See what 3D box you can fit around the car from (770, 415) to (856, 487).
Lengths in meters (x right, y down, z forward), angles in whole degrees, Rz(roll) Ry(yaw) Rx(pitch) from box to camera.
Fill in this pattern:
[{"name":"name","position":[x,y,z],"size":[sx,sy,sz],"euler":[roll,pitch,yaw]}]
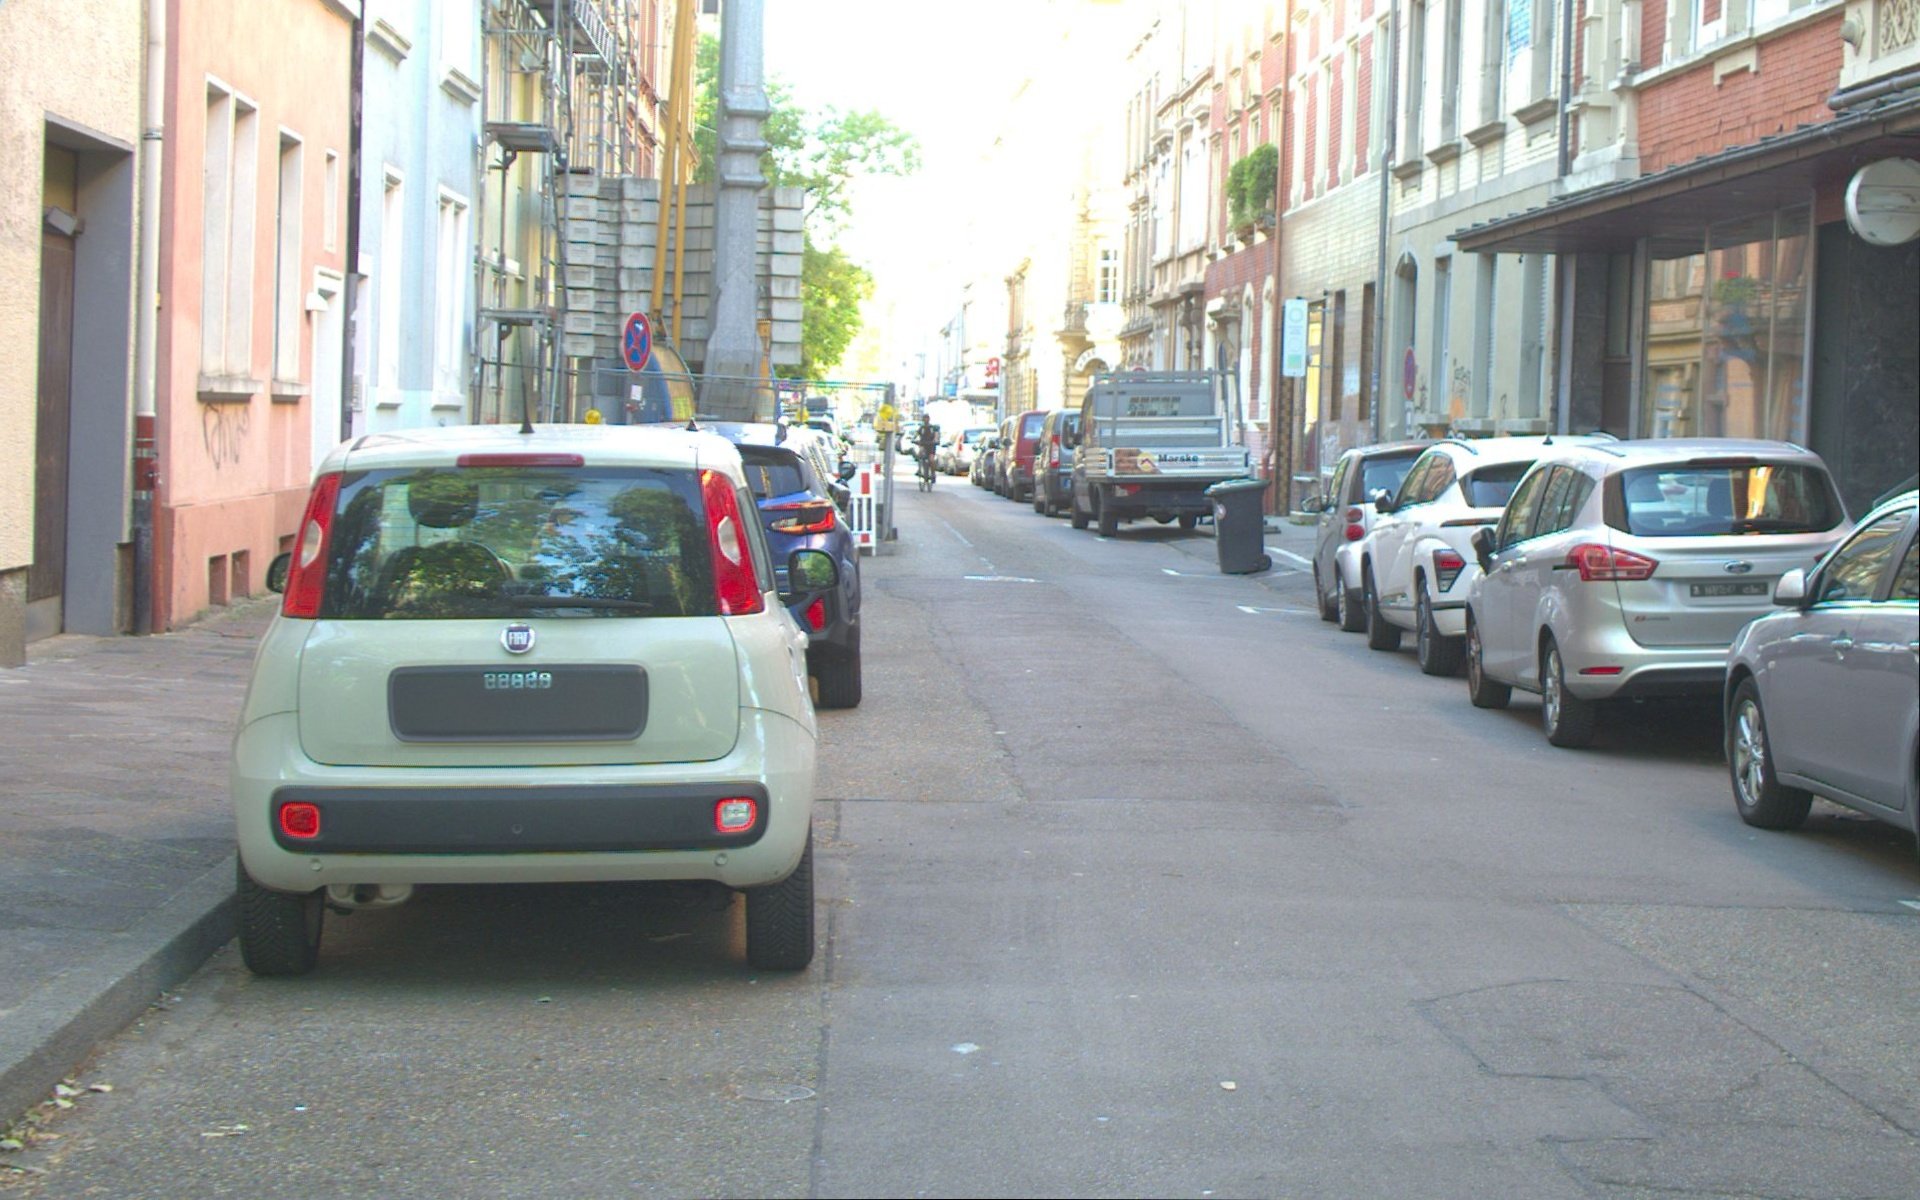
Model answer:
[{"name":"car","position":[-3.123,-3.169,72.618],"size":[1.674,1.440,3.870],"euler":[1,3,-4]}]

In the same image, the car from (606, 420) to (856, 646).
[{"name":"car","position":[-1.649,-0.569,25.658],"size":[1.674,1.506,4.416],"euler":[1,3,-2]}]

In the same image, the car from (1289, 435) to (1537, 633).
[{"name":"car","position":[3.865,-0.629,29.860],"size":[1.597,1.555,3.814],"euler":[1,3,0]}]

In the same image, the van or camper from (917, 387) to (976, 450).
[{"name":"van or camper","position":[-0.562,-7.462,141.170],"size":[1.993,2.499,4.204],"euler":[0,3,-6]}]

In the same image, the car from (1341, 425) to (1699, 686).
[{"name":"car","position":[3.906,-0.397,24.666],"size":[1.746,1.669,4.341],"euler":[1,3,-1]}]

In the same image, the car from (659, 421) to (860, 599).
[{"name":"car","position":[-1.785,-0.878,31.379],"size":[1.674,1.472,4.609],"euler":[1,3,-2]}]

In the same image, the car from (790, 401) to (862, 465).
[{"name":"car","position":[-3.450,-4.275,87.949],"size":[1.674,1.565,3.870],"euler":[1,3,-4]}]

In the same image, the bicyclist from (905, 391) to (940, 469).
[{"name":"bicyclist","position":[-0.874,-3.943,79.571],"size":[0.730,1.755,0.835],"euler":[2,4,-2]}]

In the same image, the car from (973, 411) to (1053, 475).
[{"name":"car","position":[1.337,-4.047,88.238],"size":[1.674,1.565,3.870],"euler":[1,3,-4]}]

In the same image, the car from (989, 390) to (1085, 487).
[{"name":"car","position":[1.652,-3.522,74.754],"size":[1.674,2.024,3.870],"euler":[1,3,-4]}]

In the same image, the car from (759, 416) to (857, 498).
[{"name":"car","position":[-2.845,-2.681,63.817],"size":[1.674,1.440,3.870],"euler":[1,3,-4]}]

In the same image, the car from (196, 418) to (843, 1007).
[{"name":"car","position":[-1.291,0.202,10.915],"size":[1.674,1.534,3.870],"euler":[0,3,-4]}]

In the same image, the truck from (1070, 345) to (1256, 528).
[{"name":"truck","position":[2.990,-2.479,51.810],"size":[2.189,2.598,5.236],"euler":[0,3,-3]}]

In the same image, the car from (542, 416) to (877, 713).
[{"name":"car","position":[-1.459,-0.292,20.008],"size":[1.729,1.534,4.379],"euler":[0,3,-4]}]

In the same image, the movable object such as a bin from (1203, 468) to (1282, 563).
[{"name":"movable object such as a bin","position":[3.247,-0.972,39.538],"size":[0.795,1.052,0.660],"euler":[2,3,-2]}]

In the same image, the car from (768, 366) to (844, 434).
[{"name":"car","position":[-3.719,-4.792,82.715],"size":[1.674,1.565,3.870],"euler":[1,3,-4]}]

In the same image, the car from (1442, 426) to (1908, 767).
[{"name":"car","position":[3.821,-0.111,19.013],"size":[1.640,1.650,3.870],"euler":[2,3,-1]}]

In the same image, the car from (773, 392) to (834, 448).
[{"name":"car","position":[-5.297,-6.091,116.101],"size":[1.993,1.842,4.001],"euler":[0,3,-3]}]

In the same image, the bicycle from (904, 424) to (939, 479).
[{"name":"bicycle","position":[-0.891,-3.450,79.615],"size":[0.724,1.182,2.043],"euler":[3,4,-2]}]

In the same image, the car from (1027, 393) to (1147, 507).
[{"name":"car","position":[2.264,-2.734,62.300],"size":[1.674,1.956,4.110],"euler":[1,3,-4]}]

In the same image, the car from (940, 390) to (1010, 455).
[{"name":"car","position":[0.482,-5.831,112.603],"size":[1.993,2.006,4.001],"euler":[2,3,-3]}]

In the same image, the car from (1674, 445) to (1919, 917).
[{"name":"car","position":[4.107,0.257,12.907],"size":[1.721,1.556,4.399],"euler":[2,3,-2]}]
